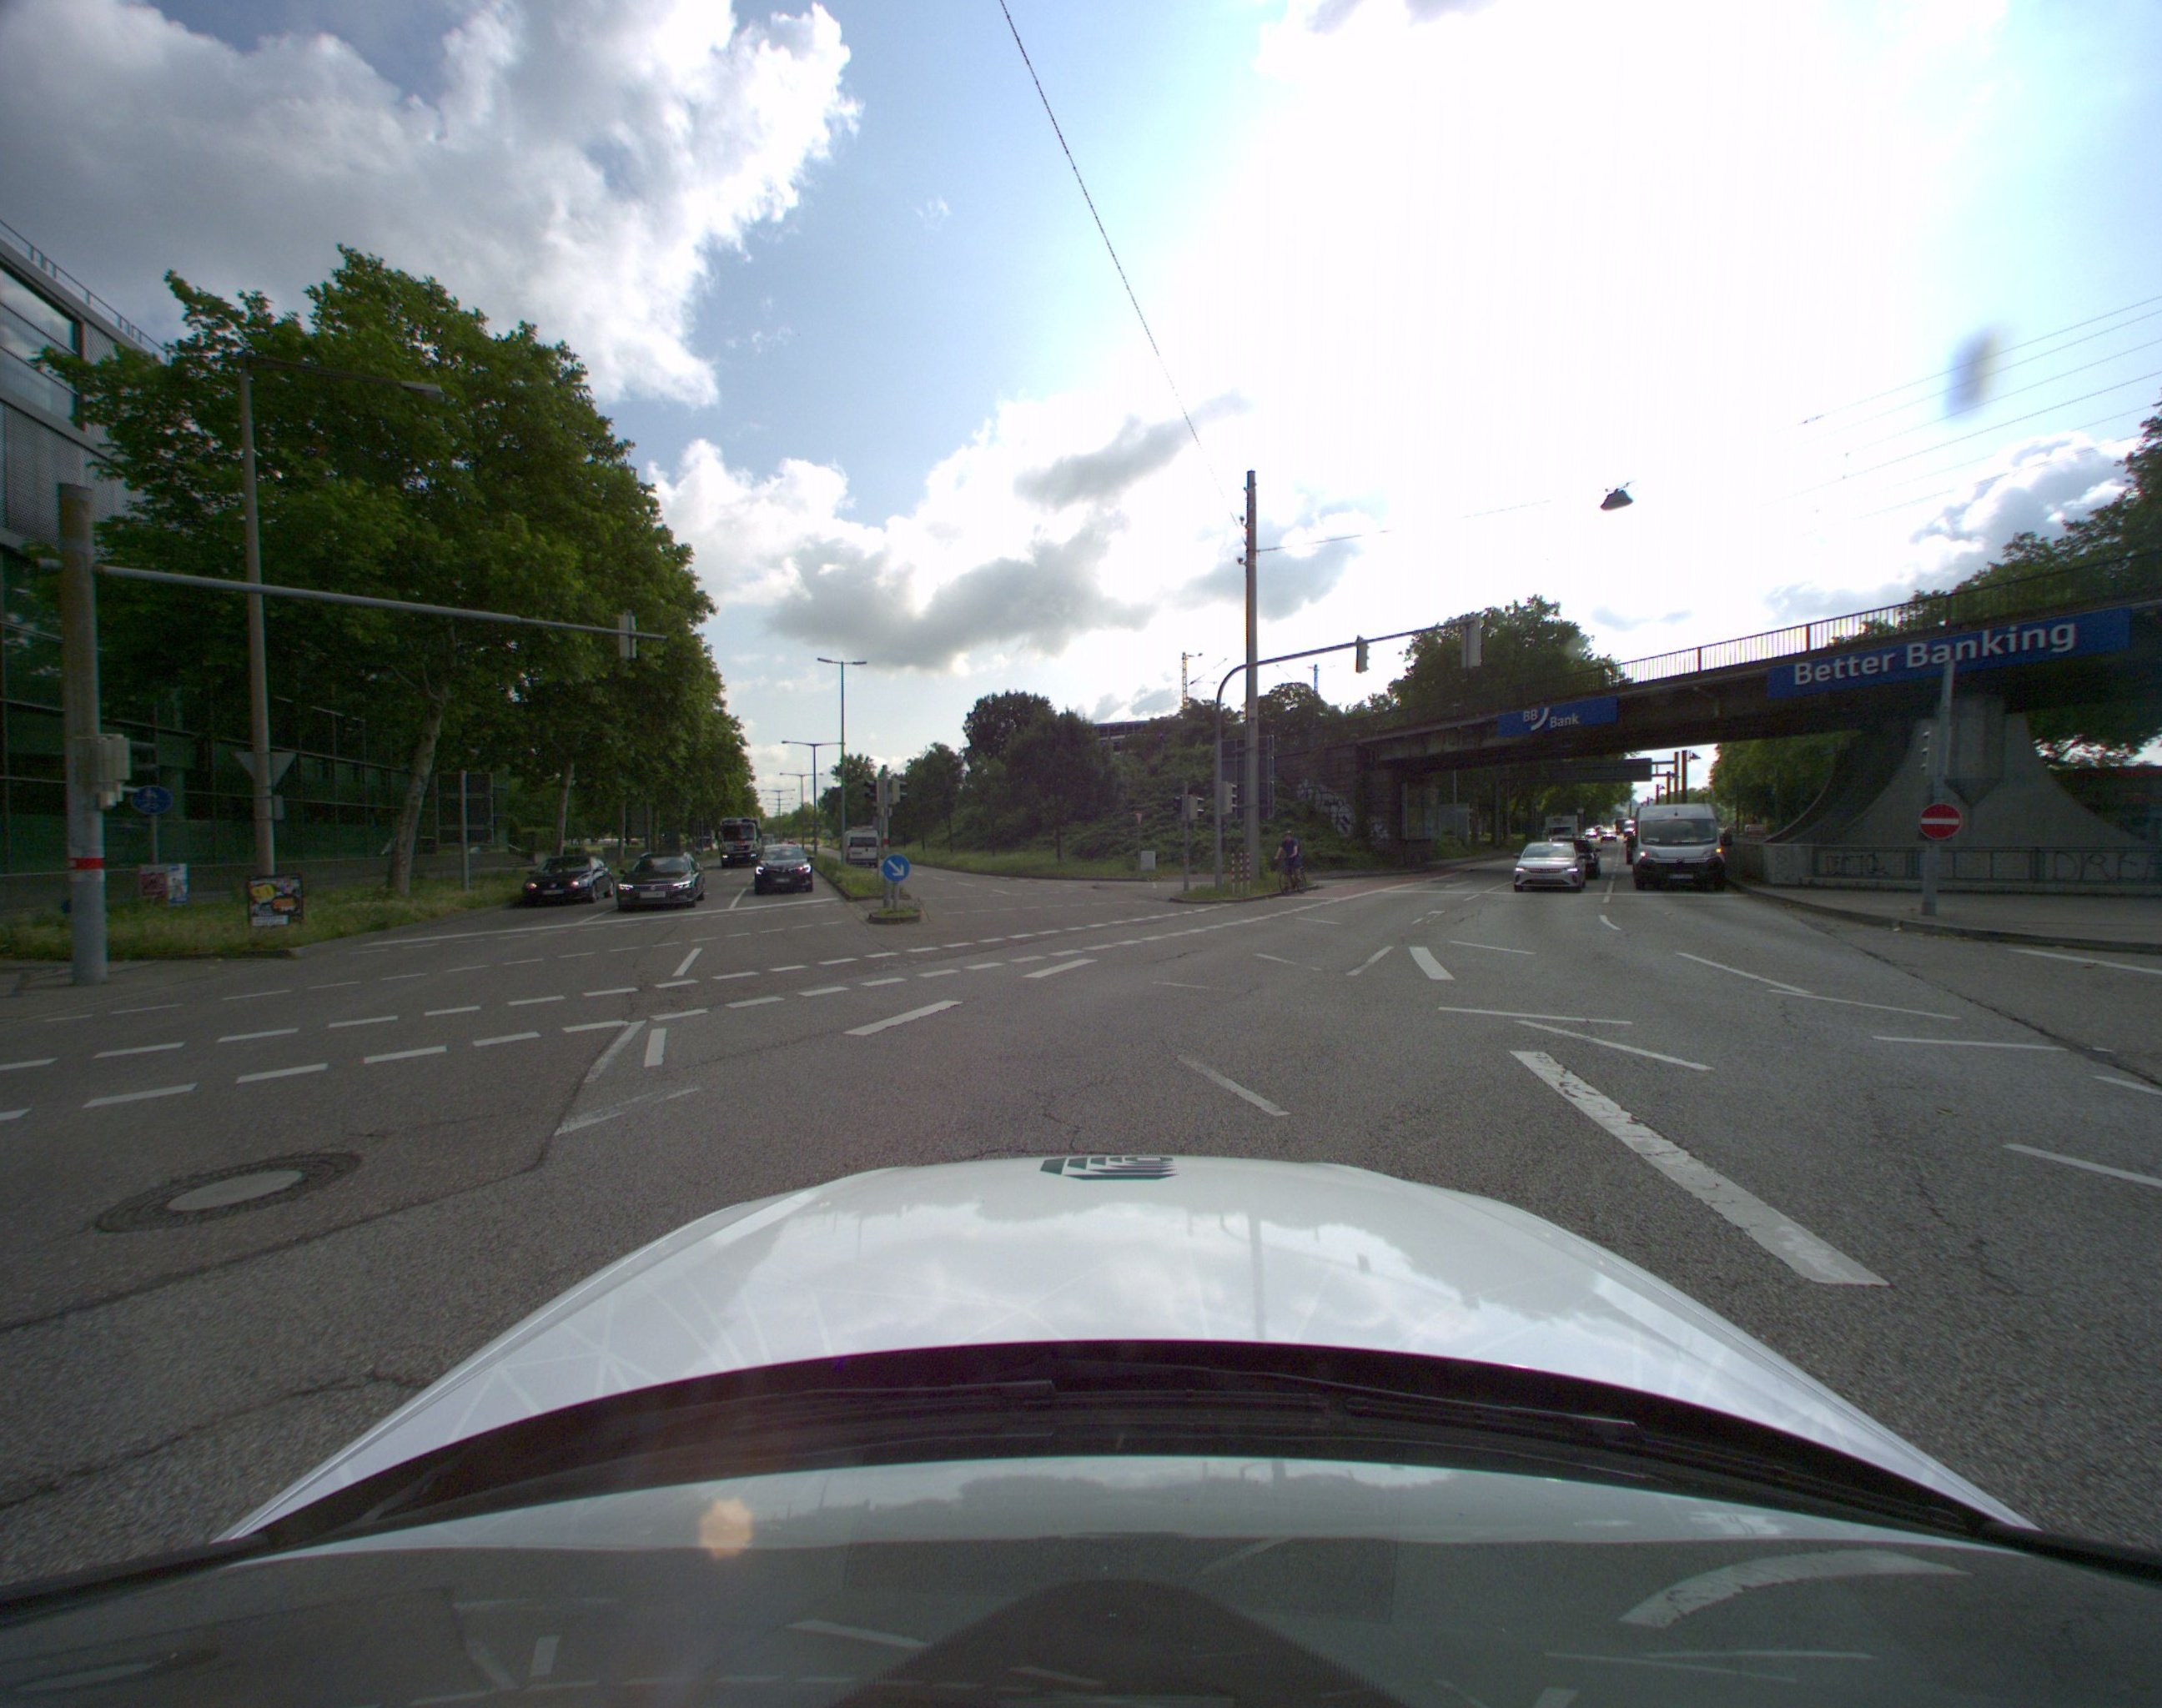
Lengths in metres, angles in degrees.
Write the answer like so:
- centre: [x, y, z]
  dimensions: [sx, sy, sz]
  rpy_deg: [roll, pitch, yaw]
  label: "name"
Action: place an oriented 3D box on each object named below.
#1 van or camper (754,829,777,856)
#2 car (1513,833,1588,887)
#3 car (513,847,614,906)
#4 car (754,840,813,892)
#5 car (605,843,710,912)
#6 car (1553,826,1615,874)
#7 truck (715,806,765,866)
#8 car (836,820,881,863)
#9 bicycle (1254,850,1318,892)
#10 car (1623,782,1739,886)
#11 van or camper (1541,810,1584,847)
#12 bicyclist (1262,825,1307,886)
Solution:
- centre: [-34.925, -1.240, 90.132]
  dimensions: [2.113, 2.659, 6.666]
  rpy_deg: [-4, 0, -22]
  label: "van or camper"
- centre: [13.998, 0.166, 24.190]
  dimensions: [1.686, 1.476, 4.026]
  rpy_deg: [-2, 0, 33]
  label: "car"
- centre: [-15.663, 0.703, 24.861]
  dimensions: [1.735, 1.572, 3.972]
  rpy_deg: [-2, -2, -20]
  label: "car"
- centre: [-10.082, 0.332, 27.724]
  dimensions: [1.713, 1.587, 4.334]
  rpy_deg: [-2, 2, -19]
  label: "car"
- centre: [-11.581, 0.552, 22.584]
  dimensions: [1.870, 1.573, 4.540]
  rpy_deg: [-2, 2, -19]
  label: "car"
- centre: [18.845, -0.123, 30.662]
  dimensions: [1.748, 1.583, 4.693]
  rpy_deg: [-4, -2, 30]
  label: "car"
- centre: [-24.411, -1.298, 58.631]
  dimensions: [2.658, 3.887, 10.094]
  rpy_deg: [-1, 1, -19]
  label: "truck"
- centre: [-14.905, -0.896, 54.272]
  dimensions: [2.207, 2.725, 4.894]
  rpy_deg: [-1, 2, -23]
  label: "car"
- centre: [6.013, 0.468, 23.756]
  dimensions: [0.834, 1.093, 2.333]
  rpy_deg: [0, 2, 41]
  label: "bicycle"
- centre: [17.739, -0.455, 24.231]
  dimensions: [2.236, 2.527, 5.662]
  rpy_deg: [-8, -6, 35]
  label: "car"
- centre: [42.841, -2.241, 72.394]
  dimensions: [2.631, 3.080, 5.786]
  rpy_deg: [-3, 0, 37]
  label: "van or camper"
- centre: [5.925, 0.051, 23.708]
  dimensions: [0.834, 1.679, 0.829]
  rpy_deg: [-8, -5, 41]
  label: "bicyclist"
